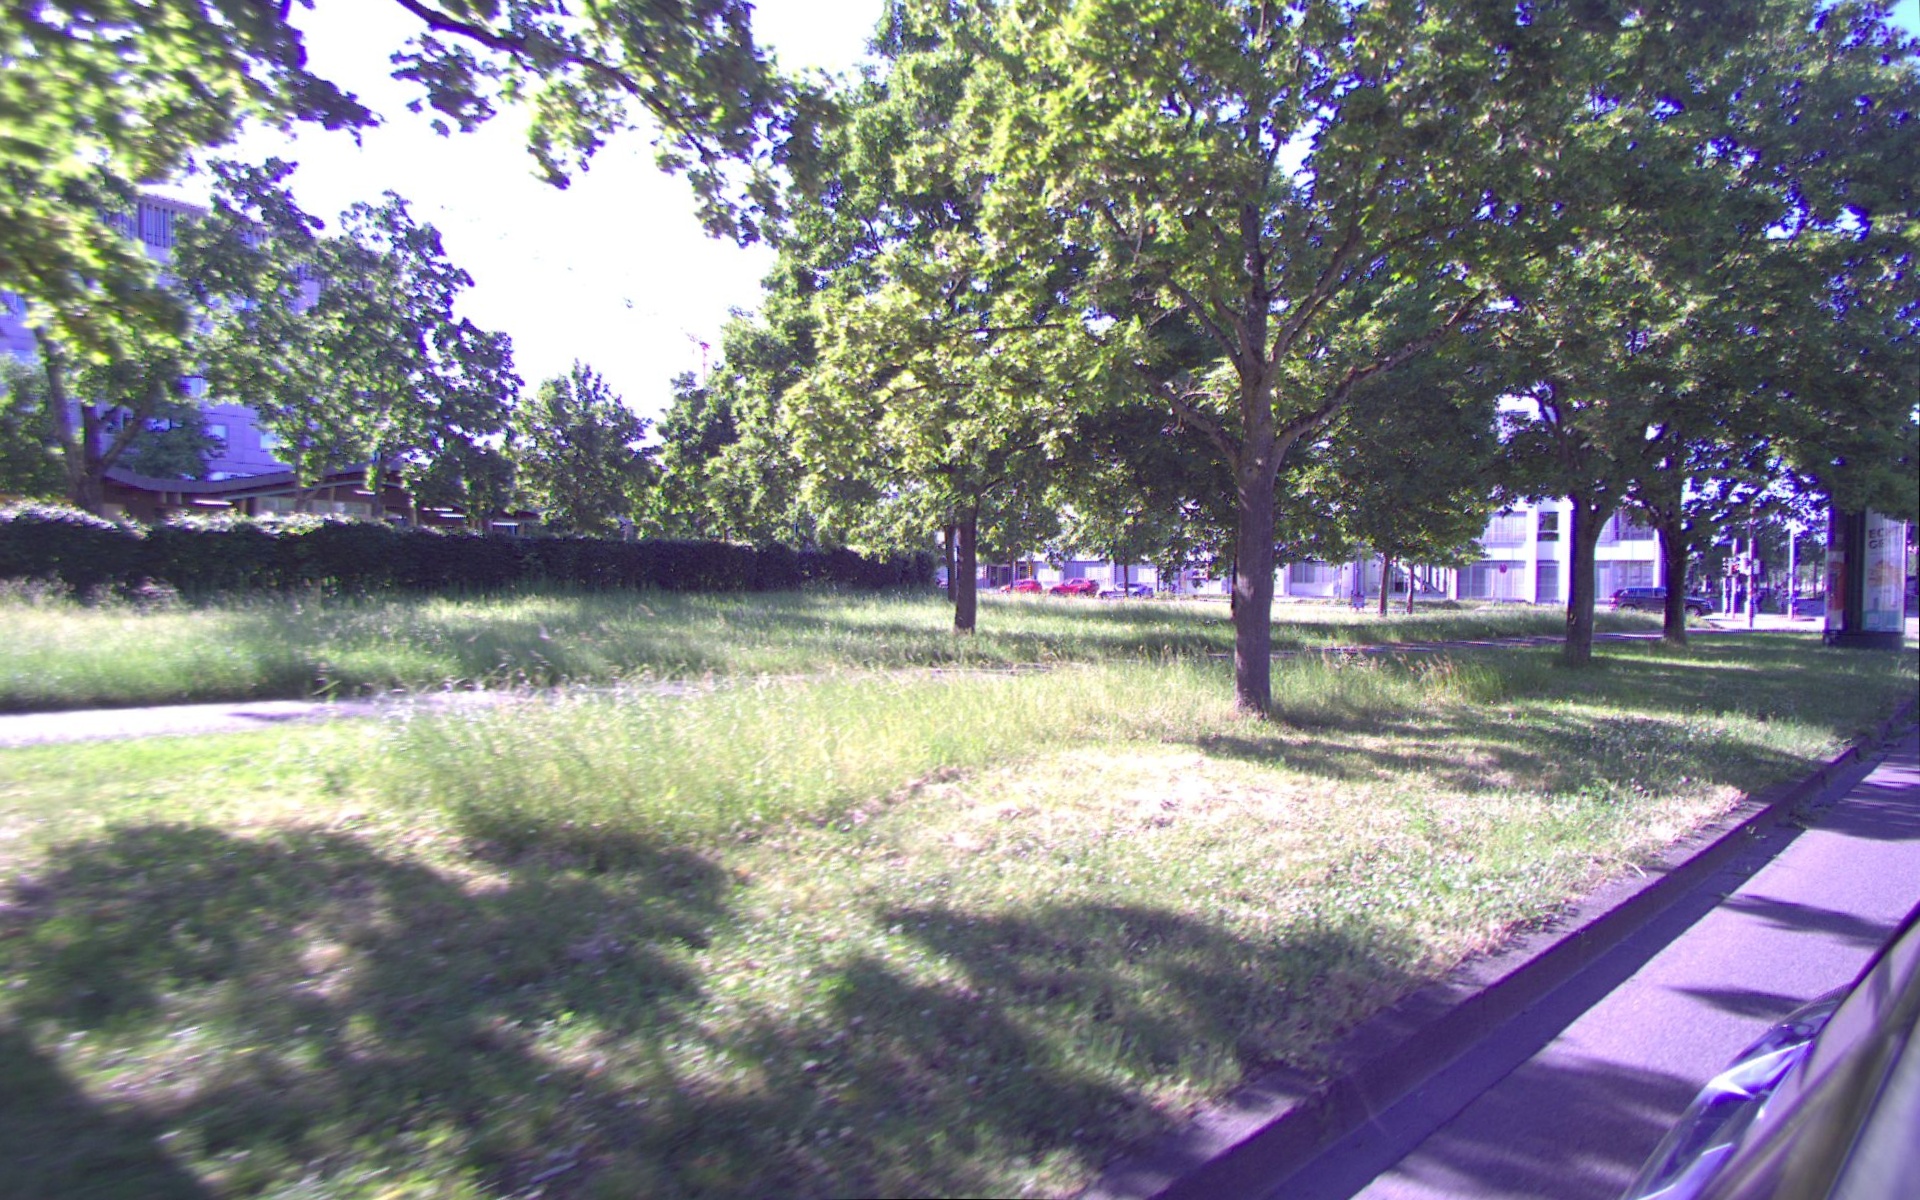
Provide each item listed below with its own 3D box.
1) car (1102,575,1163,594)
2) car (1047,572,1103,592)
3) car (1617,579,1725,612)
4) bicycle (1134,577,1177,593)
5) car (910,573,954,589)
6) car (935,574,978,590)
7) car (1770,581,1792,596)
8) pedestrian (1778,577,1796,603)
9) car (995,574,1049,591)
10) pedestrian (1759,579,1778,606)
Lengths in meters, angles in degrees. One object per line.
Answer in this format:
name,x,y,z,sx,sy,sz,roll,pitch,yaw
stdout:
car,13.451,-1.230,78.973,4.258,1.438,1.896,2,1,34
car,9.547,-1.534,84.153,4.258,1.614,1.896,2,1,34
car,37.781,-0.268,53.862,4.608,1.642,1.973,2,2,39
bicycle,16.497,-1.272,85.472,3.515,1.365,0.977,2,1,37
car,-2.564,-1.738,93.597,1.907,1.438,4.234,1,1,35
car,-0.290,-1.655,91.924,1.907,1.438,4.234,1,1,35
car,96.912,-1.417,119.504,1.684,1.731,4.186,1,1,36
pedestrian,55.976,-0.678,68.473,0.879,1.718,0.724,1,1,43
car,5.311,-1.507,87.112,4.258,1.438,1.896,2,1,34
pedestrian,52.993,-0.505,66.315,0.721,1.718,0.733,0,1,-31
